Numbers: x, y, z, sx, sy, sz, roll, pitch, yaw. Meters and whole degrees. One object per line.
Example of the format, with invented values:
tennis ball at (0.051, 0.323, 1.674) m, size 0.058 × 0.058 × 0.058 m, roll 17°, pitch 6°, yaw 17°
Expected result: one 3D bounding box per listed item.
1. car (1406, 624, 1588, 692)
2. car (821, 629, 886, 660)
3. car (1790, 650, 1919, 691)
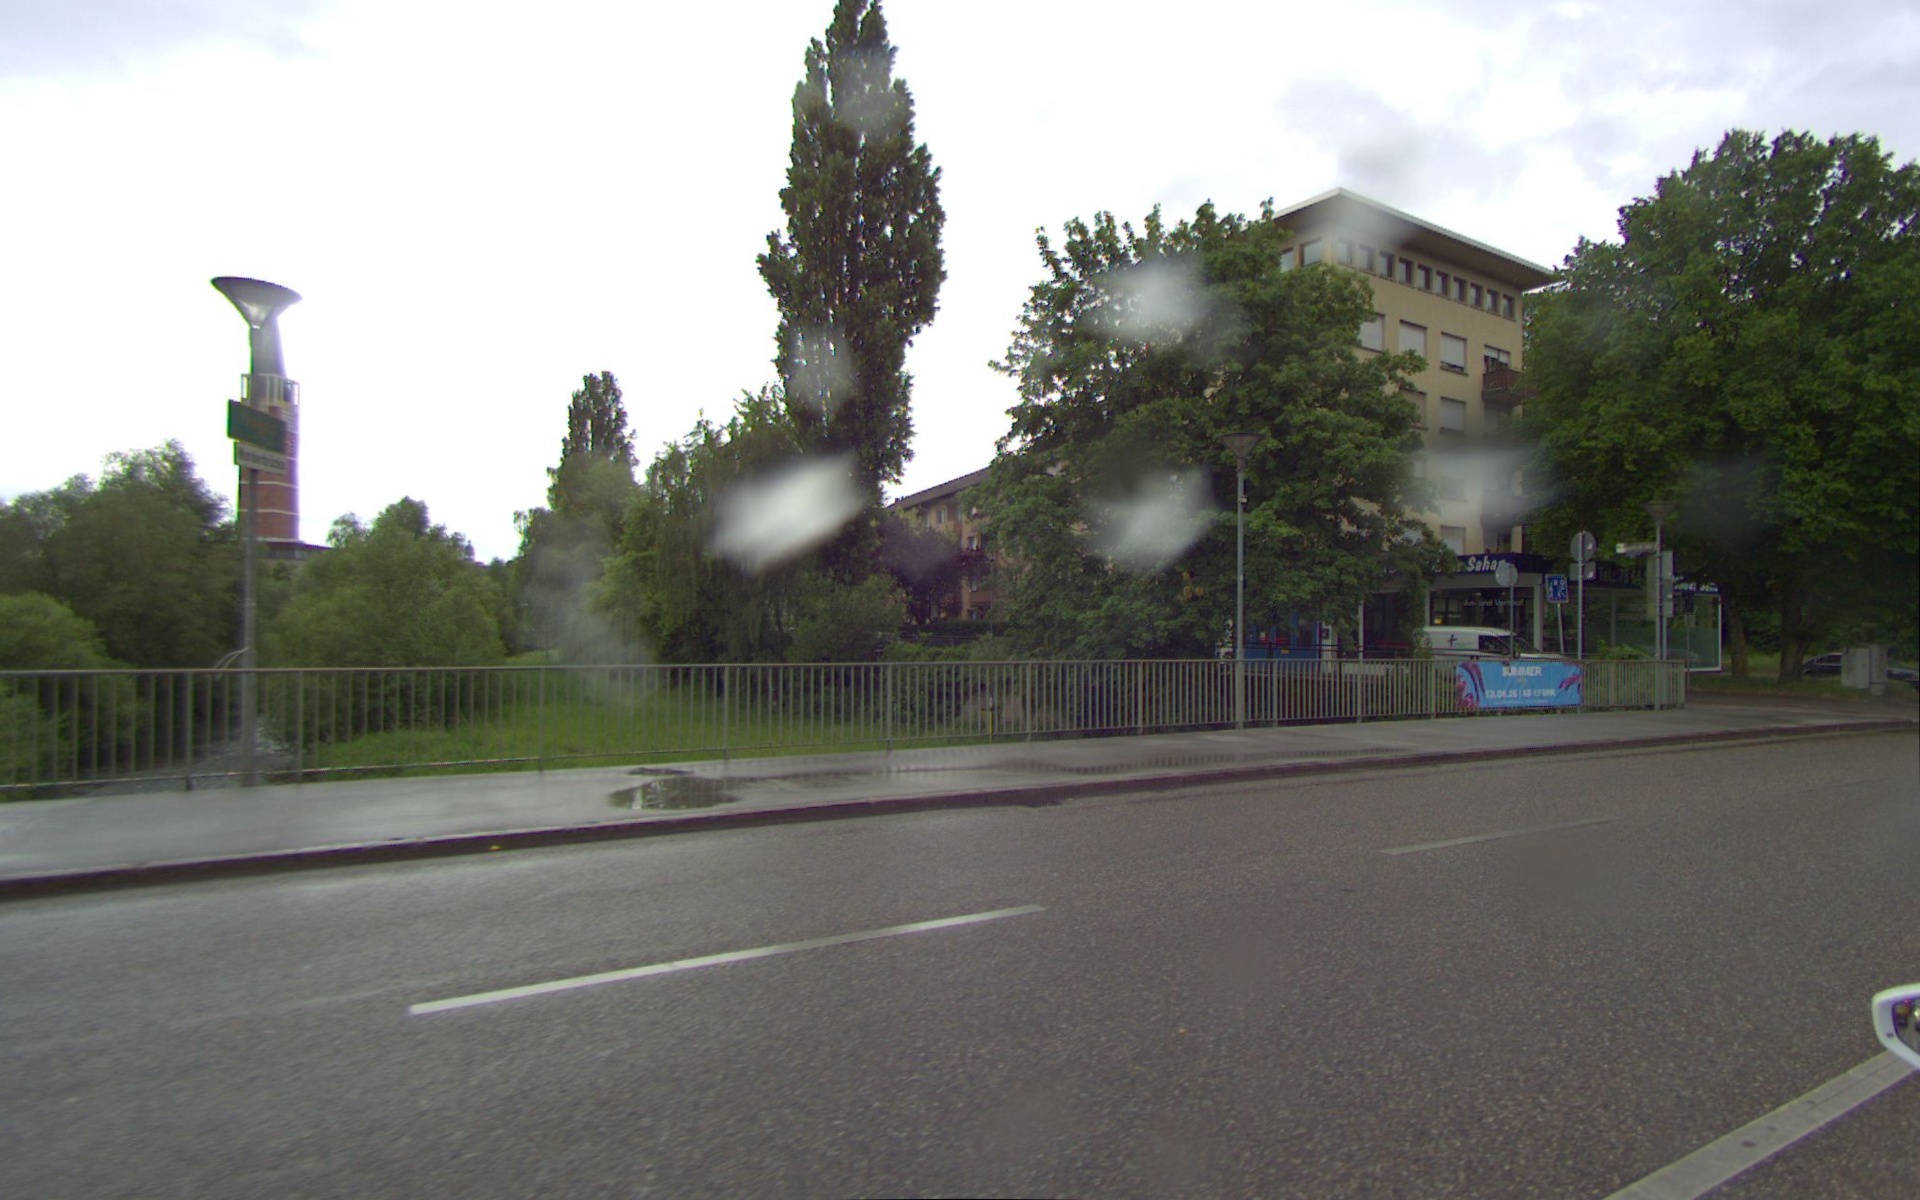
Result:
car at (16.851, 1.751, 31.752) m, size 1.982 × 1.879 × 4.705 m, roll -1°, pitch 0°, yaw -38°
car at (-5.817, 2.380, 54.489) m, size 1.726 × 1.602 × 3.844 m, roll 2°, pitch -2°, yaw -38°
car at (35.237, 2.703, 39.039) m, size 1.706 × 1.478 × 4.414 m, roll 2°, pitch -3°, yaw -16°
